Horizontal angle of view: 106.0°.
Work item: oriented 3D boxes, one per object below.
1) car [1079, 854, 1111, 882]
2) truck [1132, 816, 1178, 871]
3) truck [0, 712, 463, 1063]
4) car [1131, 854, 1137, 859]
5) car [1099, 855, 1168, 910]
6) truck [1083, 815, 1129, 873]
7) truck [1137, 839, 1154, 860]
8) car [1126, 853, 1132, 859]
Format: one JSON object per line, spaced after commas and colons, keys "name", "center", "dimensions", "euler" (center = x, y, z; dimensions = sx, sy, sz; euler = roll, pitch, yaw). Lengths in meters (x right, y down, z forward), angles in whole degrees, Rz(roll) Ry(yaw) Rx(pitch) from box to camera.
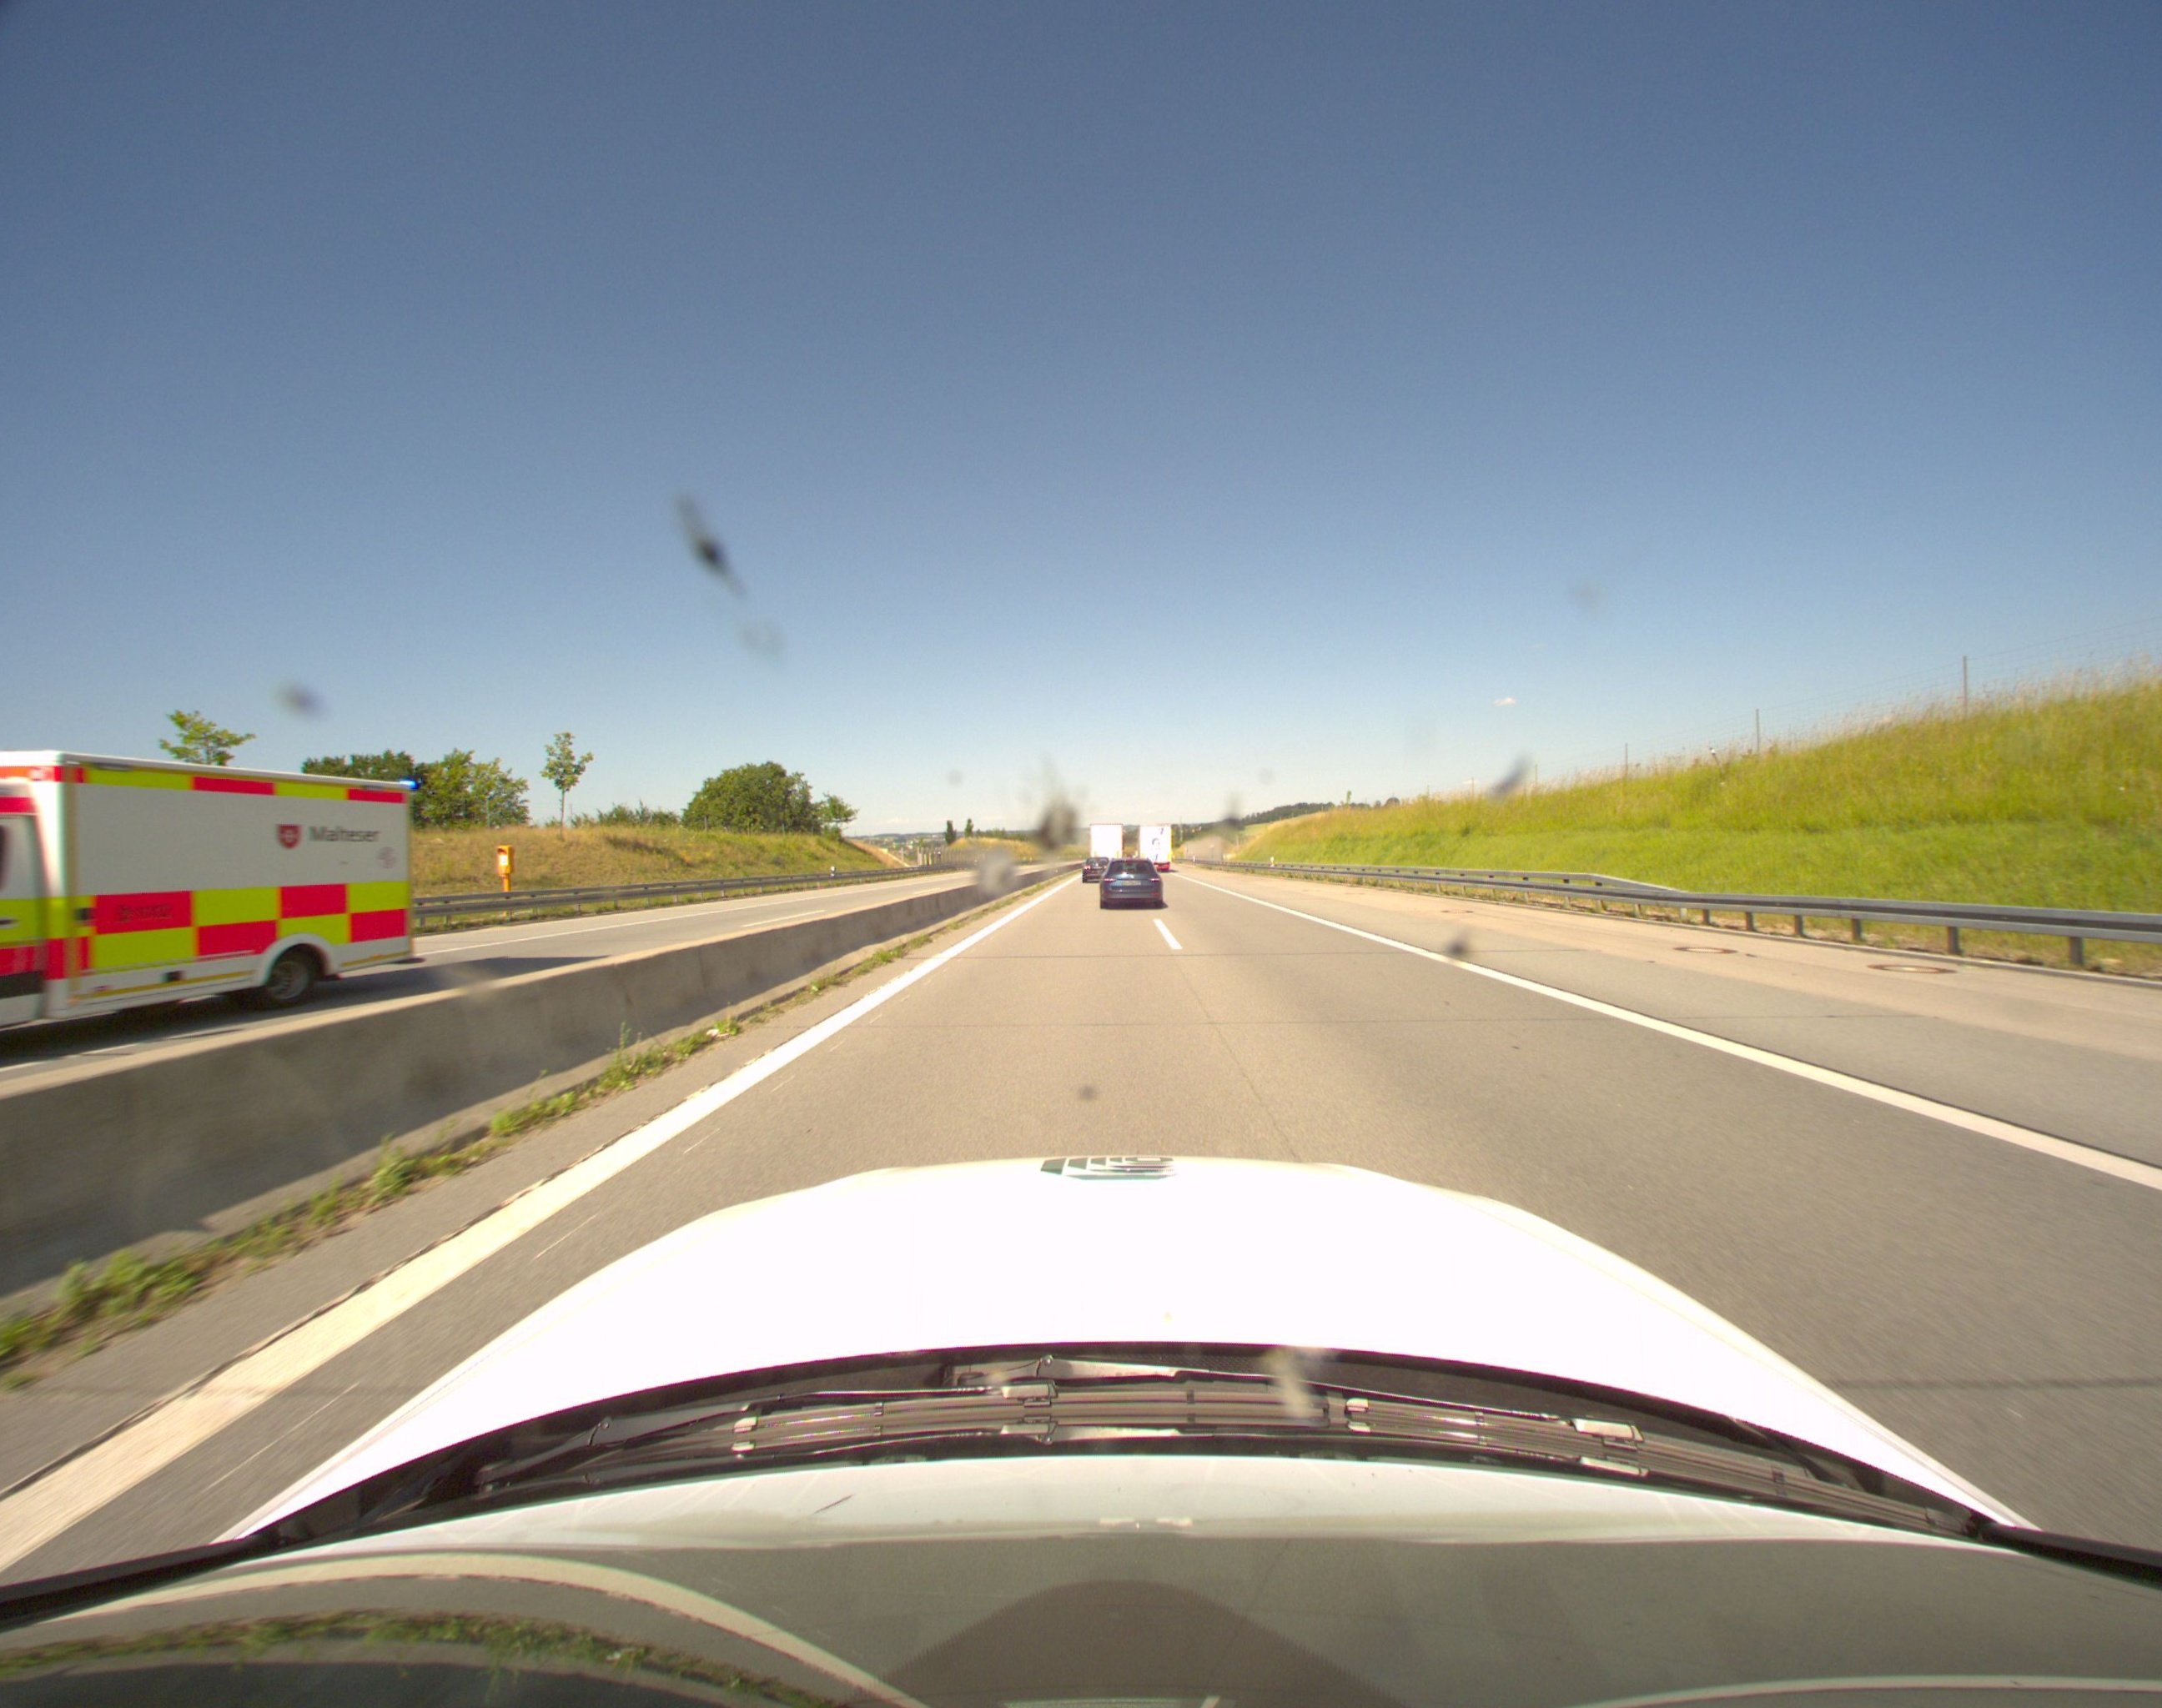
{"name": "car", "center": [0.776, 0.763, 46.204], "dimensions": [1.694, 1.441, 4.000], "euler": [-4, 0, 0]}
{"name": "truck", "center": [6.509, -0.880, 72.896], "dimensions": [3.588, 4.381, 11.246], "euler": [-4, 0, 4]}
{"name": "truck", "center": [-10.644, 0.312, 8.662], "dimensions": [2.764, 3.021, 6.795], "euler": [-1, 0, 2]}
{"name": "car", "center": [16.901, 0.705, 261.044], "dimensions": [1.693, 1.441, 4.003], "euler": [-1, 0, 3]}
{"name": "car", "center": [1.456, 0.776, 23.925], "dimensions": [1.771, 1.441, 3.788], "euler": [-1, 0, 0]}
{"name": "truck", "center": [2.282, -0.823, 70.159], "dimensions": [3.196, 4.381, 11.247], "euler": [-4, 0, 4]}
{"name": "truck", "center": [14.926, -1.076, 188.168], "dimensions": [3.588, 4.381, 11.246], "euler": [-4, 0, 4]}
{"name": "car", "center": [12.727, 0.603, 216.247], "dimensions": [1.693, 1.441, 4.003], "euler": [-1, 0, 3]}
